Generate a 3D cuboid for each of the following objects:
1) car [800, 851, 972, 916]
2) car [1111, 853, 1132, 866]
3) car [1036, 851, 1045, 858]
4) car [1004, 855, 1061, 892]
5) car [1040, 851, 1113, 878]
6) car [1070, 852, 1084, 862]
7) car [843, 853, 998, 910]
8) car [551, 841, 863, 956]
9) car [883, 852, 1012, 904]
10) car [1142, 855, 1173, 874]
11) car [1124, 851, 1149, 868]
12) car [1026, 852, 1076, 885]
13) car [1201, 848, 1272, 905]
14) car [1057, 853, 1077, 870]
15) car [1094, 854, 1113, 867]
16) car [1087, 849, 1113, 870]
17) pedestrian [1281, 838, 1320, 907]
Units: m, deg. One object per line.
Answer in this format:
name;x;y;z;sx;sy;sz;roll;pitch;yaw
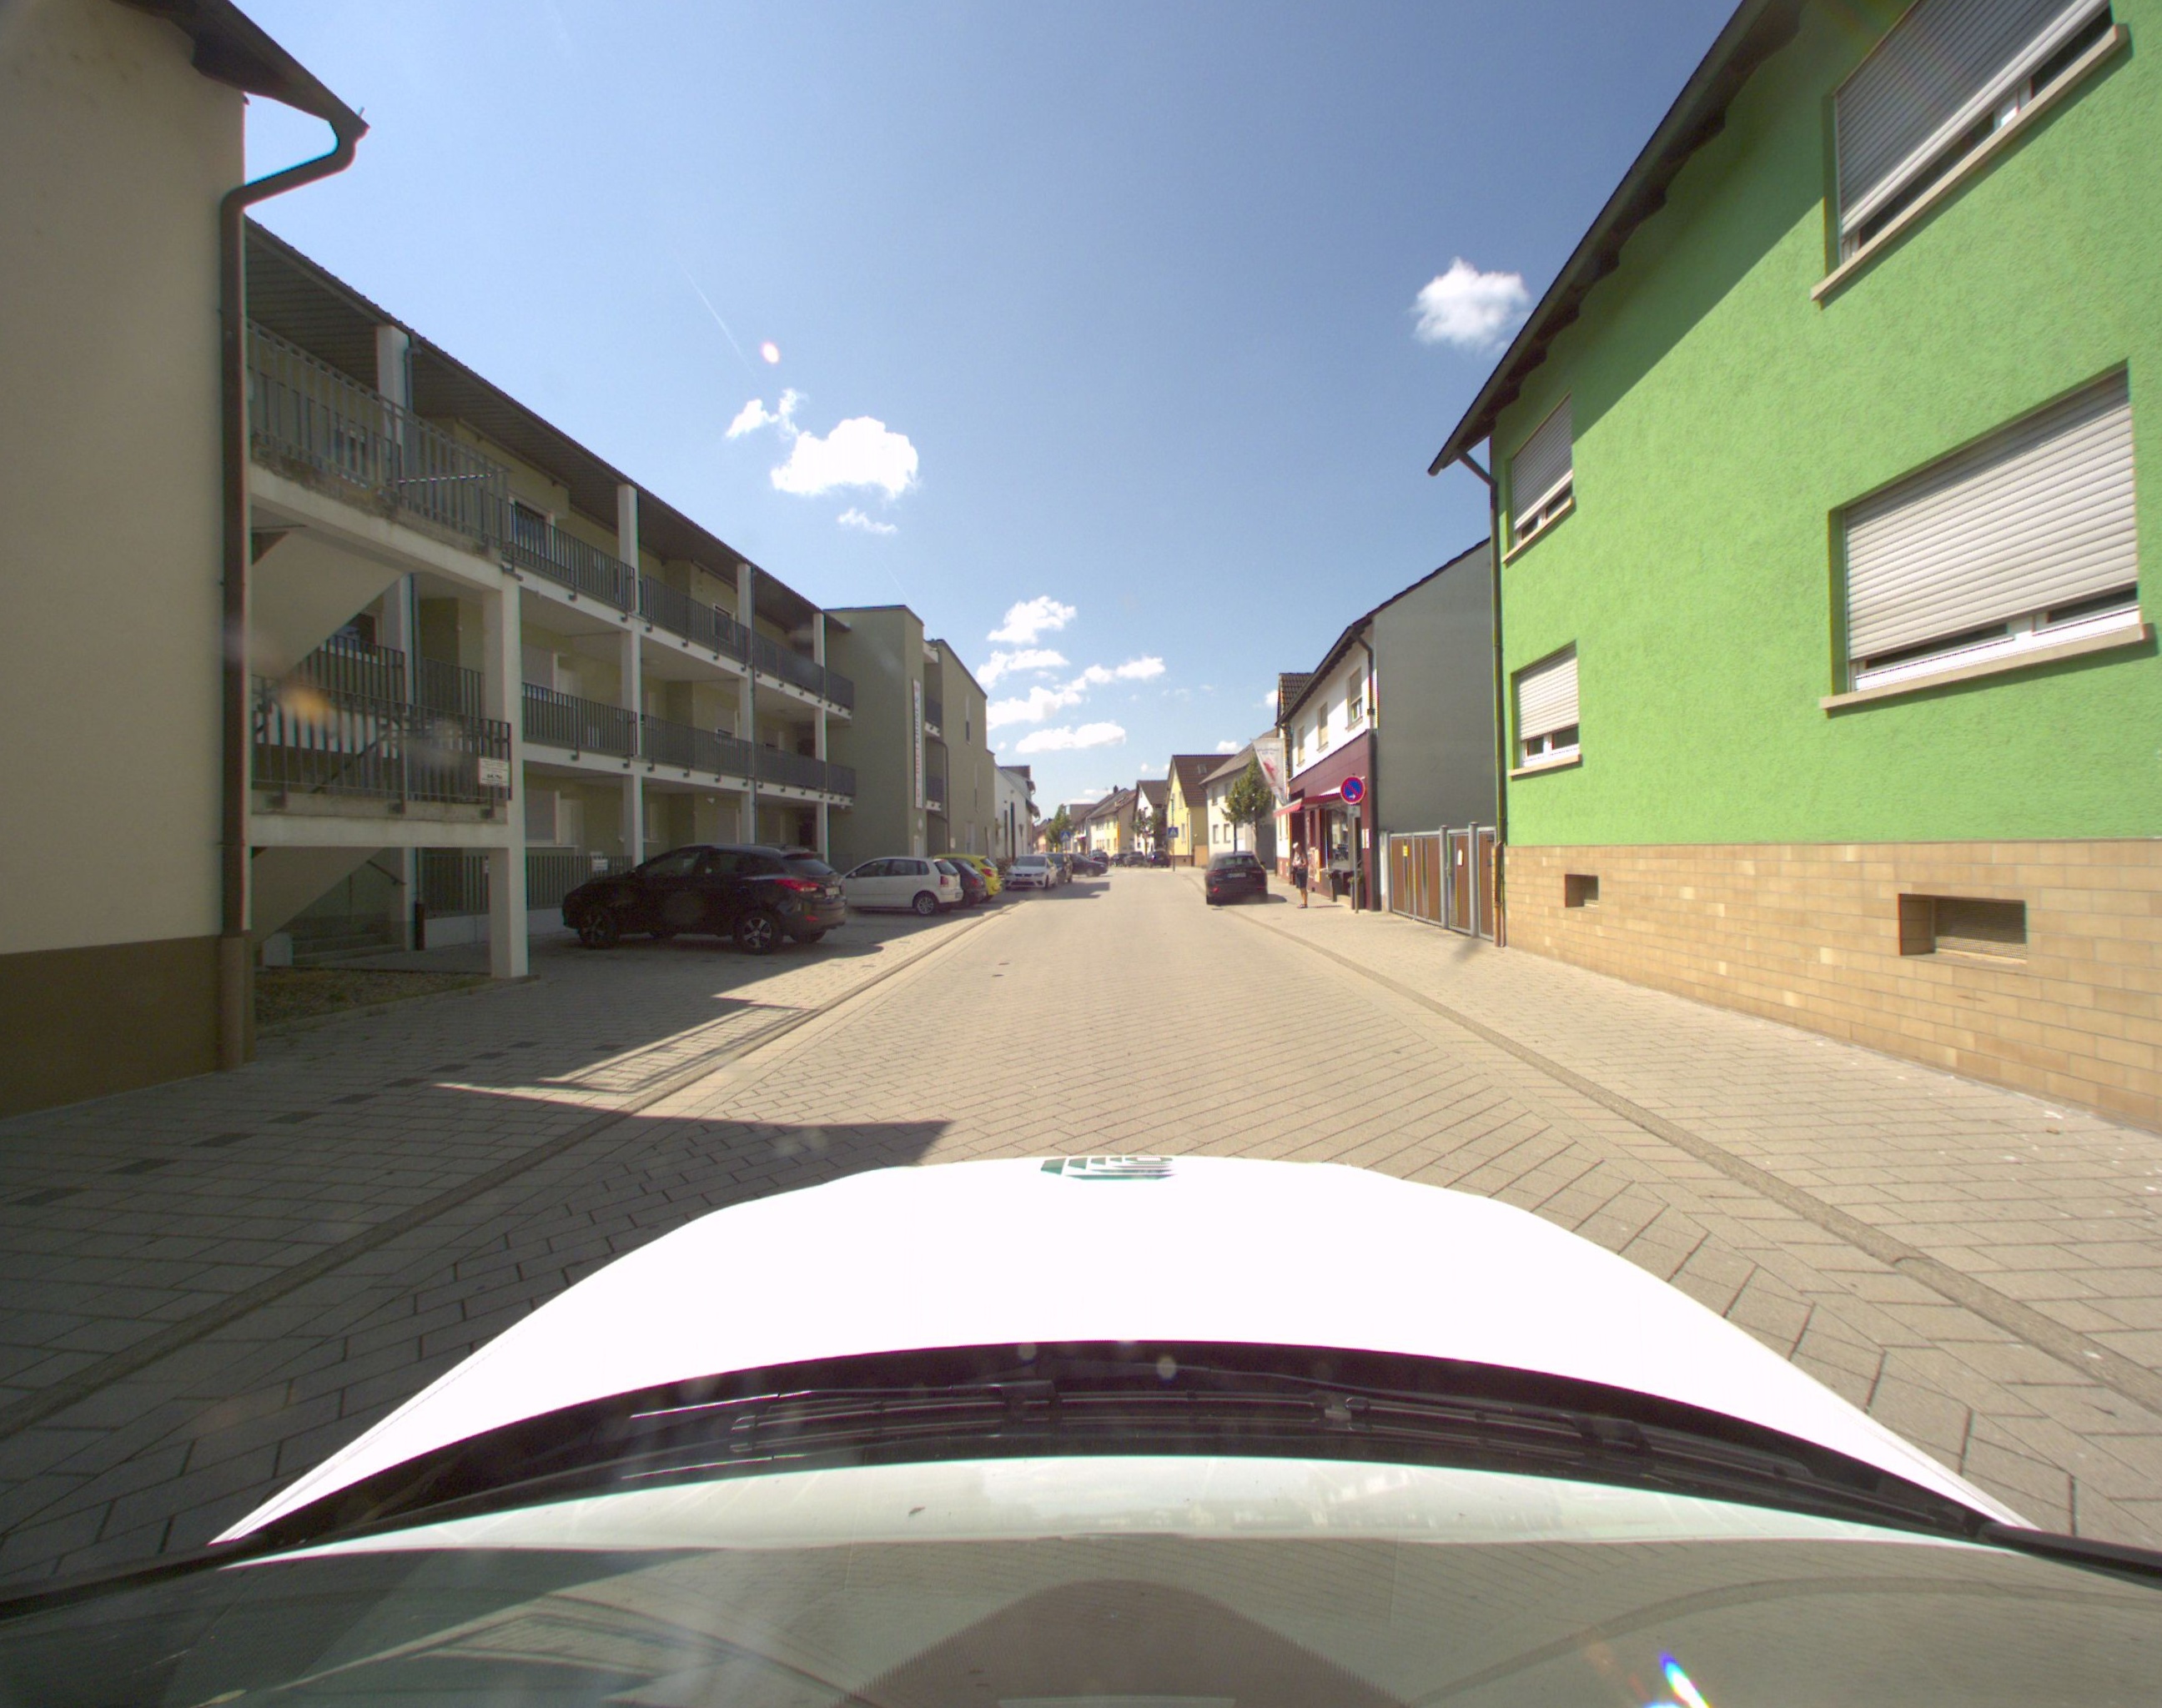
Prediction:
car;-4.969;0.718;21.036;3.880;1.502;1.754;1;0;7
car;4.407;0.566;88.487;1.708;1.387;3.698;-2;0;-6
car;-9.141;0.094;182.709;1.685;1.452;3.785;-2;0;-6
car;-1.968;0.789;34.312;1.749;1.411;3.885;1;0;6
car;-0.235;0.616;48.867;4.085;1.438;1.768;-3;0;6
car;-0.594;0.419;117.186;1.752;1.493;3.992;-2;0;-6
car;-4.546;0.752;23.364;3.967;1.441;1.694;2;0;6
car;-5.919;0.662;13.189;4.198;1.658;1.787;1;0;5
car;-4.213;0.724;25.986;3.672;1.525;1.676;1;0;6
car;6.685;0.898;71.461;1.827;1.471;4.267;-4;0;-6
car;5.454;0.507;80.935;1.844;1.562;3.686;-2;0;-6
car;-1.398;0.657;39.710;1.804;1.490;4.285;0;0;6
car;4.605;0.615;24.540;1.847;1.459;4.597;-3;0;9
car;-1.354;0.712;76.853;1.743;1.530;3.996;0;0;-3
car;2.840;0.774;102.424;1.875;1.591;3.992;-2;0;-6
car;1.895;0.530;82.752;1.991;2.058;4.364;-2;0;-6
pedestrian;5.403;0.455;20.121;0.725;1.640;0.750;-4;-1;8
